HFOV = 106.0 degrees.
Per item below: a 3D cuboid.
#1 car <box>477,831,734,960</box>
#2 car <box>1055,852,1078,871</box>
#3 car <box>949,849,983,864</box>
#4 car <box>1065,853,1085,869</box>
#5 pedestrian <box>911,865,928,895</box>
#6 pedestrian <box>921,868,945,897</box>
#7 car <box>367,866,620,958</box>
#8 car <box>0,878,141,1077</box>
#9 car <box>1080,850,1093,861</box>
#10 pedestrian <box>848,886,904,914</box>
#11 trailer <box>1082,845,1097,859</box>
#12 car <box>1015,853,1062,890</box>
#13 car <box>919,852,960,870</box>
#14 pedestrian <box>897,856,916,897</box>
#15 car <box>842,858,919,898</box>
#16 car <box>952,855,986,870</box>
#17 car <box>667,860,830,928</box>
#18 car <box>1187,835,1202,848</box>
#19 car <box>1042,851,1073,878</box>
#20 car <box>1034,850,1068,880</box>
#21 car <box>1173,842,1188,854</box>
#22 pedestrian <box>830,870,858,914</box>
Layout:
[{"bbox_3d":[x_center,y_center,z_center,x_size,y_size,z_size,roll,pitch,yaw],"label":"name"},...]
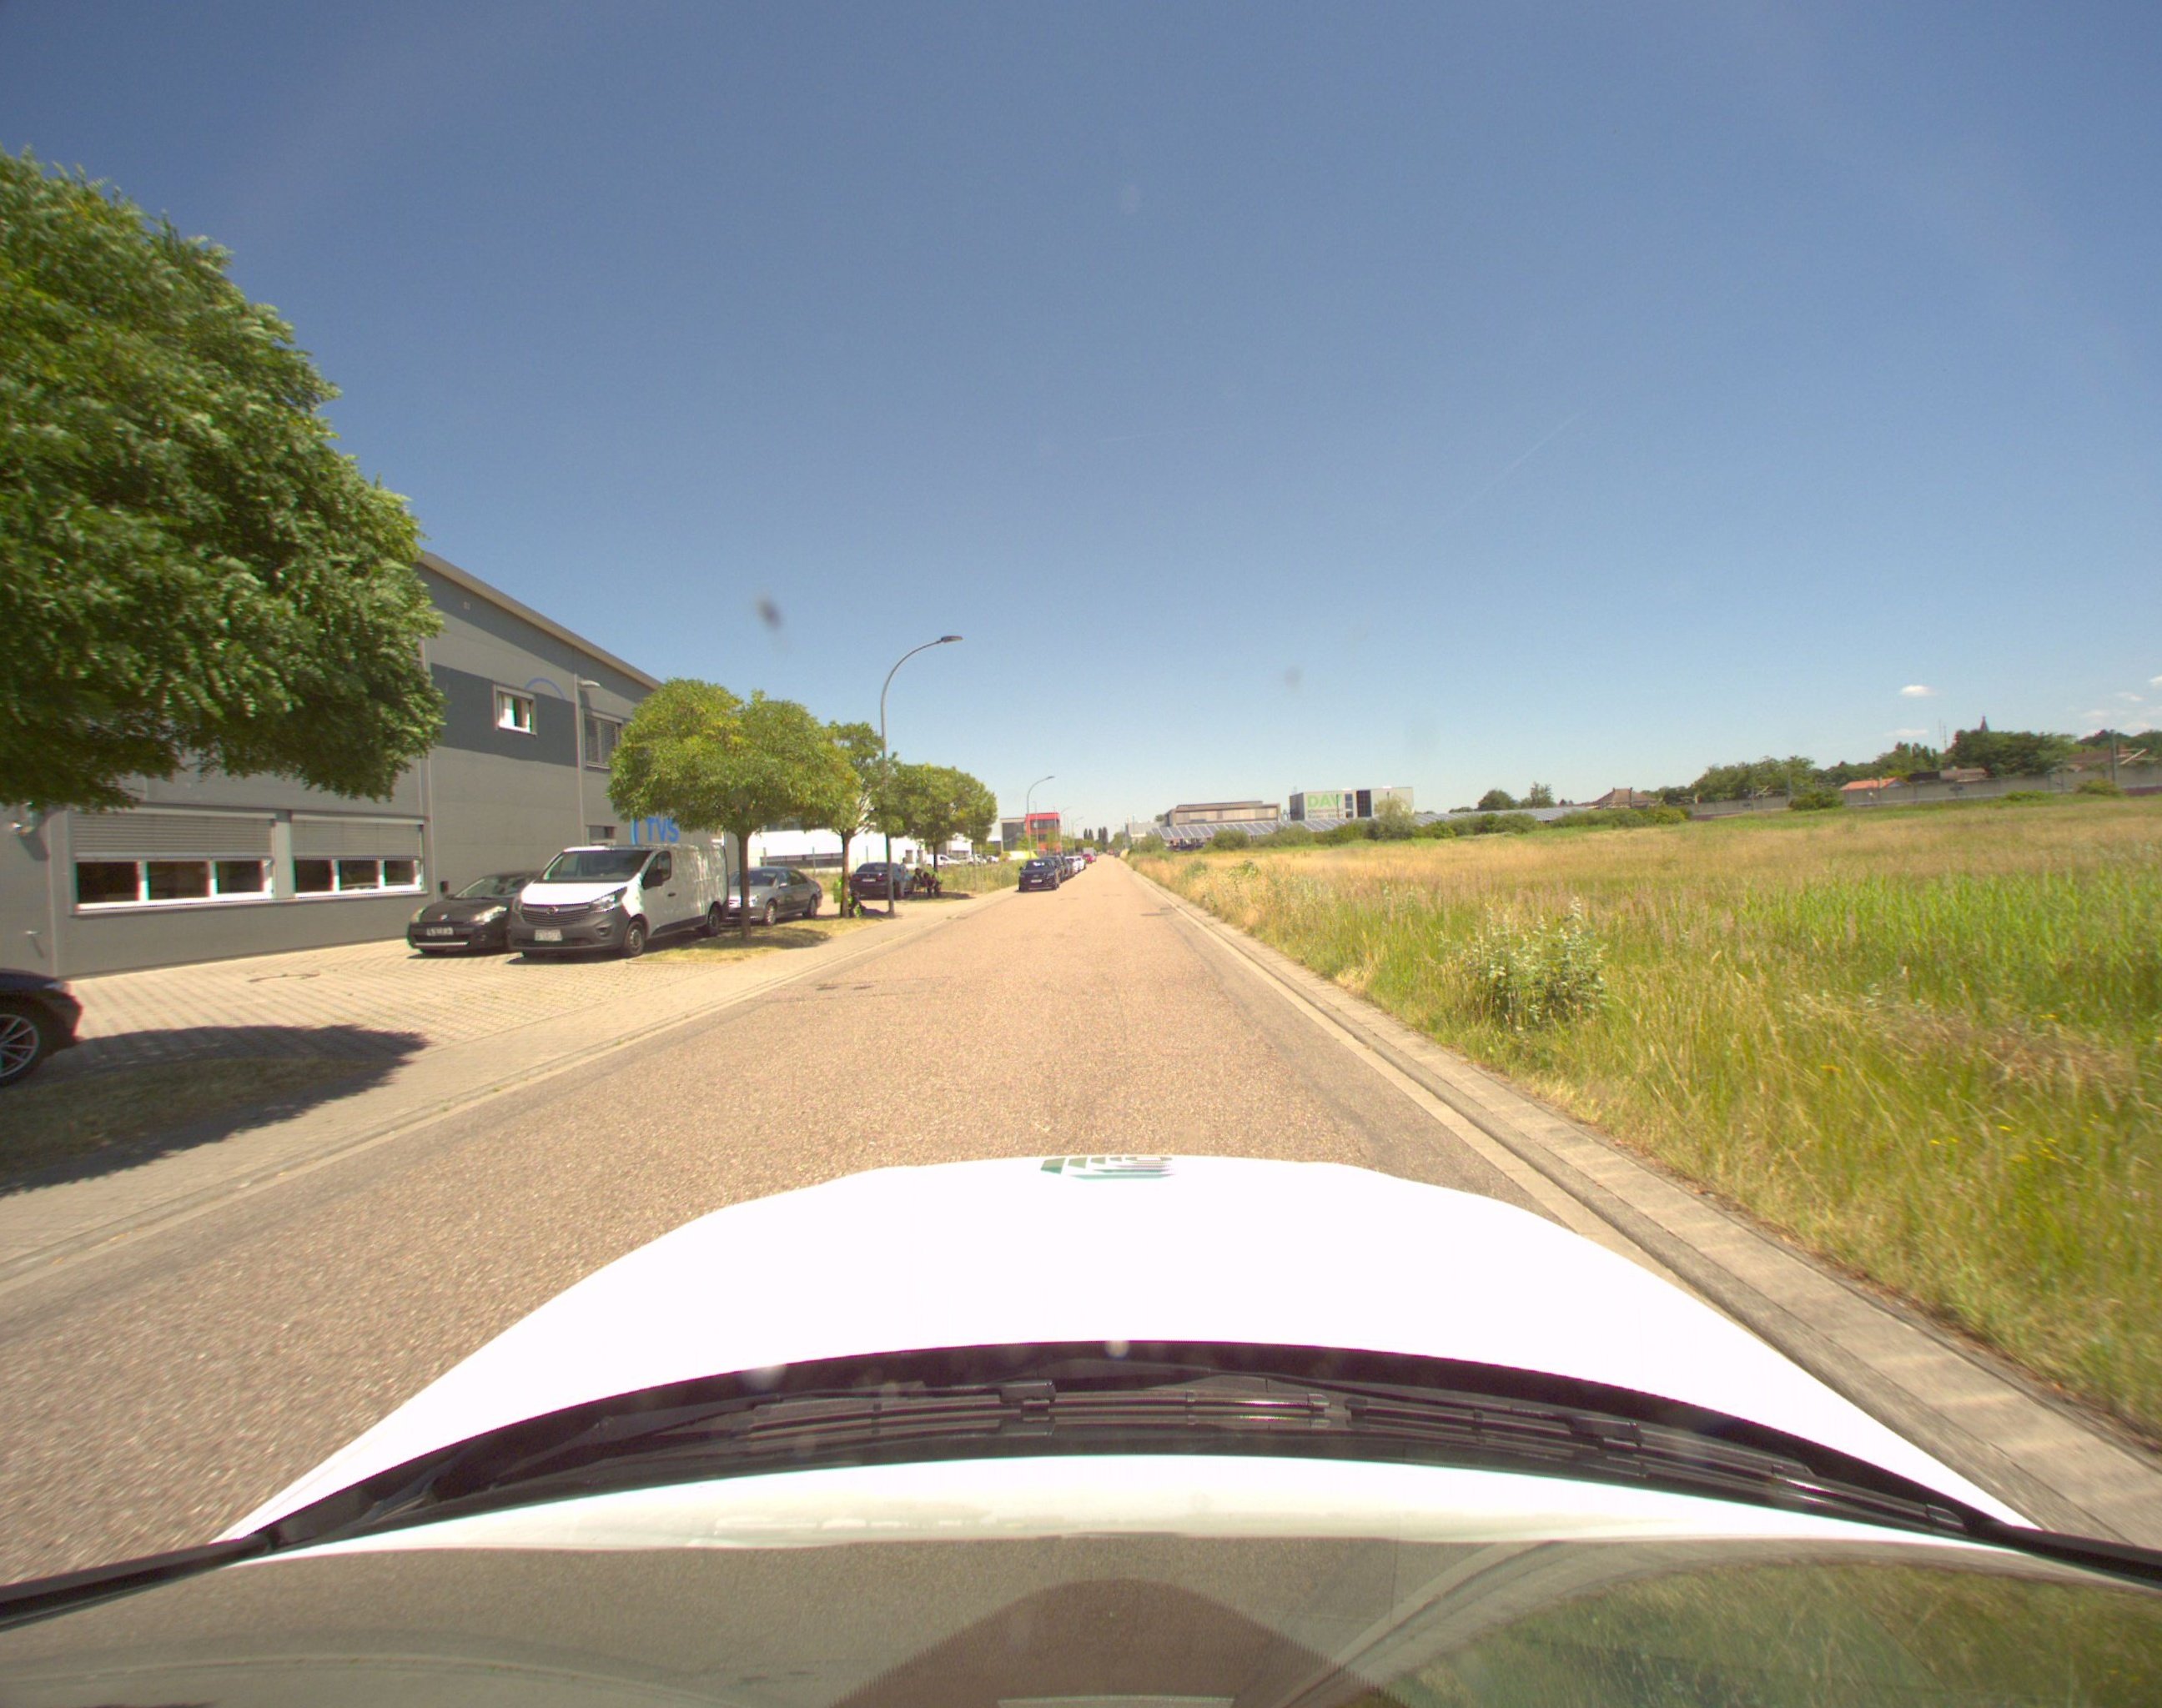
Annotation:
[{"bbox_3d":[-8.580,0.633,15.381,1.831,2.018,5.125,0,0,0],"label":"car"},{"bbox_3d":[-1.251,0.650,72.464,1.780,1.520,3.984,-3,0,2],"label":"car"},{"bbox_3d":[-16.609,0.364,117.704,4.511,1.943,2.032,-3,0,2],"label":"car"},{"bbox_3d":[-0.569,0.698,83.675,1.780,1.520,3.984,-3,0,2],"label":"car"},{"bbox_3d":[-6.542,1.030,33.044,0.503,1.191,0.754,0,0,4],"label":"pedestrian"},{"bbox_3d":[-5.735,1.084,31.644,0.747,1.098,0.647,0,0,5],"label":"pedestrian"},{"bbox_3d":[-11.115,1.015,15.851,1.920,1.440,4.087,0,0,0],"label":"car"},{"bbox_3d":[-9.018,0.961,4.632,1.759,1.453,4.716,0,0,2],"label":"car"},{"bbox_3d":[0.899,0.280,121.956,1.780,1.520,3.984,-3,0,2],"label":"car"},{"bbox_3d":[-5.726,1.279,22.793,1.352,0.749,0.754,0,0,3],"label":"pedestrian"},{"bbox_3d":[1.390,-0.404,133.474,2.193,2.137,4.287,-3,0,2],"label":"trailer"},{"bbox_3d":[-2.005,0.807,39.464,1.920,1.567,4.190,-3,0,1],"label":"car"},{"bbox_3d":[-17.415,0.820,100.577,4.511,1.943,2.032,-3,0,2],"label":"car"},{"bbox_3d":[-6.804,0.862,31.783,0.503,1.595,0.754,0,0,4],"label":"pedestrian"},{"bbox_3d":[-8.077,0.923,33.235,1.920,1.464,4.692,0,0,1],"label":"car"},{"bbox_3d":[-16.587,1.296,120.757,4.511,1.943,2.032,-3,0,2],"label":"car"},{"bbox_3d":[-8.261,0.932,20.799,1.919,1.440,4.844,-3,-1,3],"label":"car"},{"bbox_3d":[19.553,-2.129,140.817,1.986,2.013,4.002,-3,0,2],"label":"car"},{"bbox_3d":[-1.570,0.673,55.523,1.762,1.663,4.554,-3,0,2],"label":"car"},{"bbox_3d":[-1.801,0.656,50.154,1.671,1.663,4.238,-3,0,2],"label":"car"},{"bbox_3d":[17.171,-1.040,140.775,1.986,2.013,4.002,-3,0,2],"label":"car"},{"bbox_3d":[-6.329,1.019,21.735,0.475,1.150,0.557,0,-2,12],"label":"pedestrian"}]
